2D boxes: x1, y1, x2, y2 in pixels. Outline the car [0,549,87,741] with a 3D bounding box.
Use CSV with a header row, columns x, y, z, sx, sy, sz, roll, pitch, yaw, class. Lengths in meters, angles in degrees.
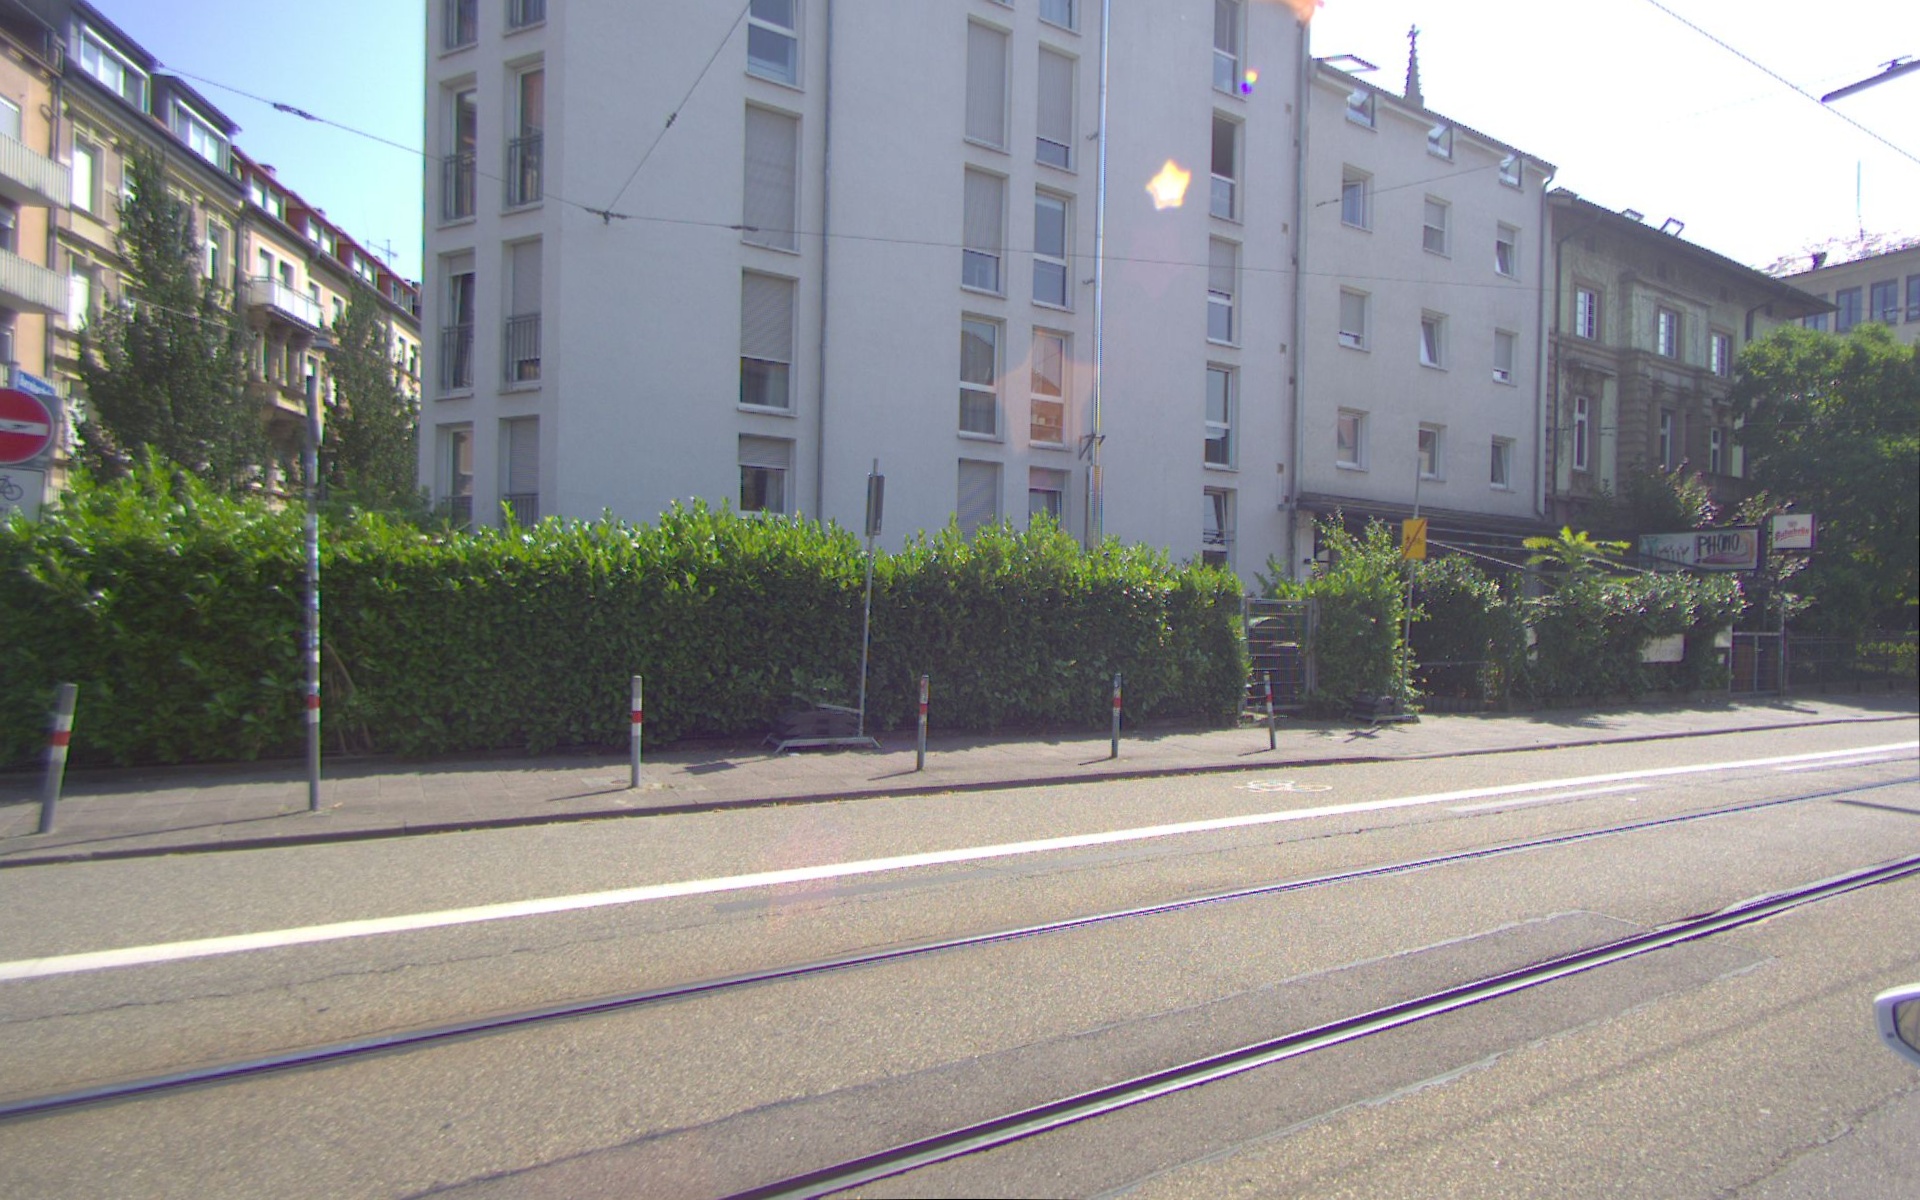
x,y,z,sx,sy,sz,roll,pitch,yaw,class
-10.840,0.444,9.585,1.856,2.015,3.994,2,0,-8,car
